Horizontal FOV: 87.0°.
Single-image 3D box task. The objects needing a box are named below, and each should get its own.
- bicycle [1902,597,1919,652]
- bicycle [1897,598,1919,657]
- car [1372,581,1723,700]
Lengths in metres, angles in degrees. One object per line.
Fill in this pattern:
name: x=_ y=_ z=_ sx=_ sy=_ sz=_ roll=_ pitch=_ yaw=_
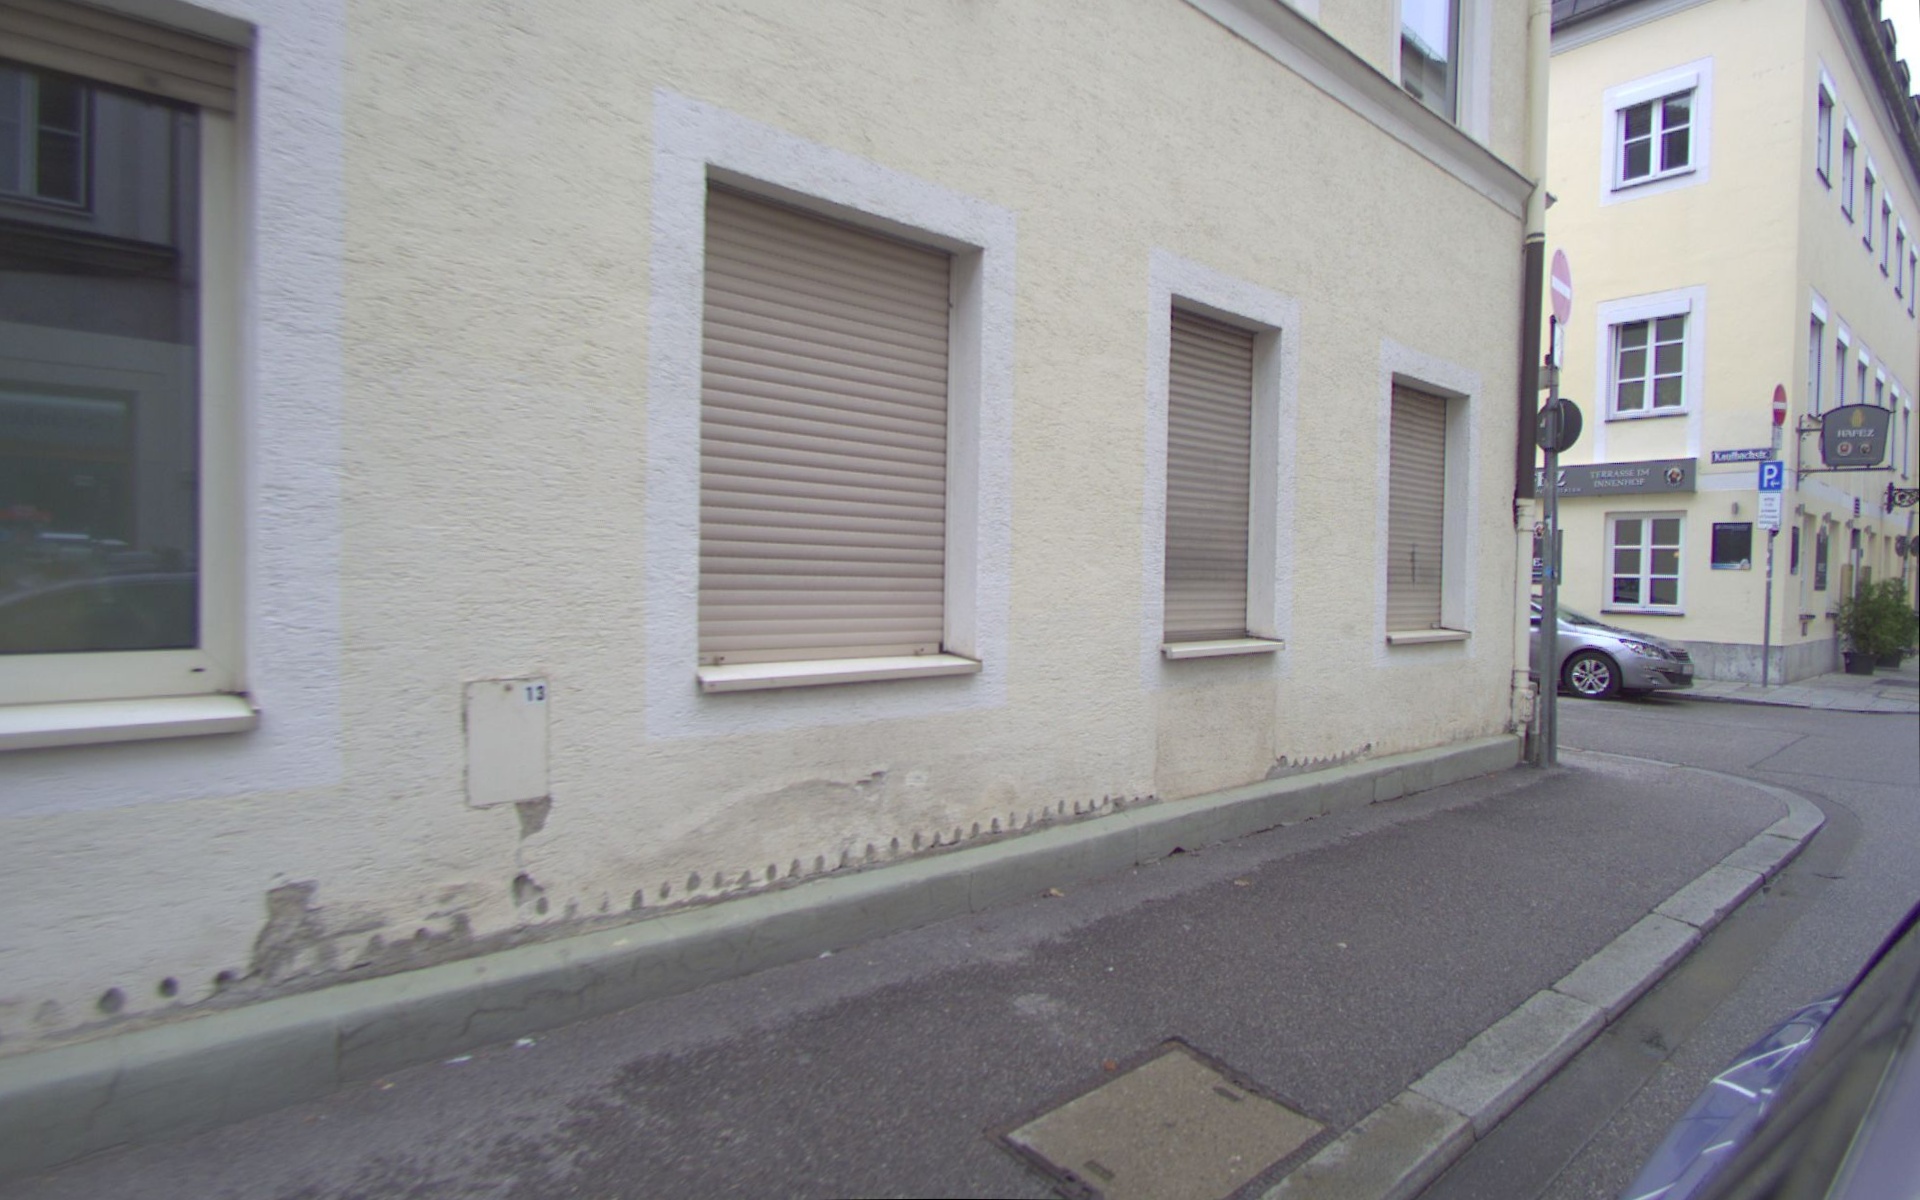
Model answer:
bicycle: x=21.186 y=0.538 z=22.142 sx=1.952 sy=1.150 sz=0.567 roll=0 pitch=3 yaw=-40
bicycle: x=19.633 y=0.543 z=20.601 sx=1.654 sy=1.150 sz=0.567 roll=0 pitch=3 yaw=-40
car: x=8.307 y=0.503 z=14.617 sx=1.732 sy=1.459 sz=4.025 roll=3 pitch=-1 yaw=-38
